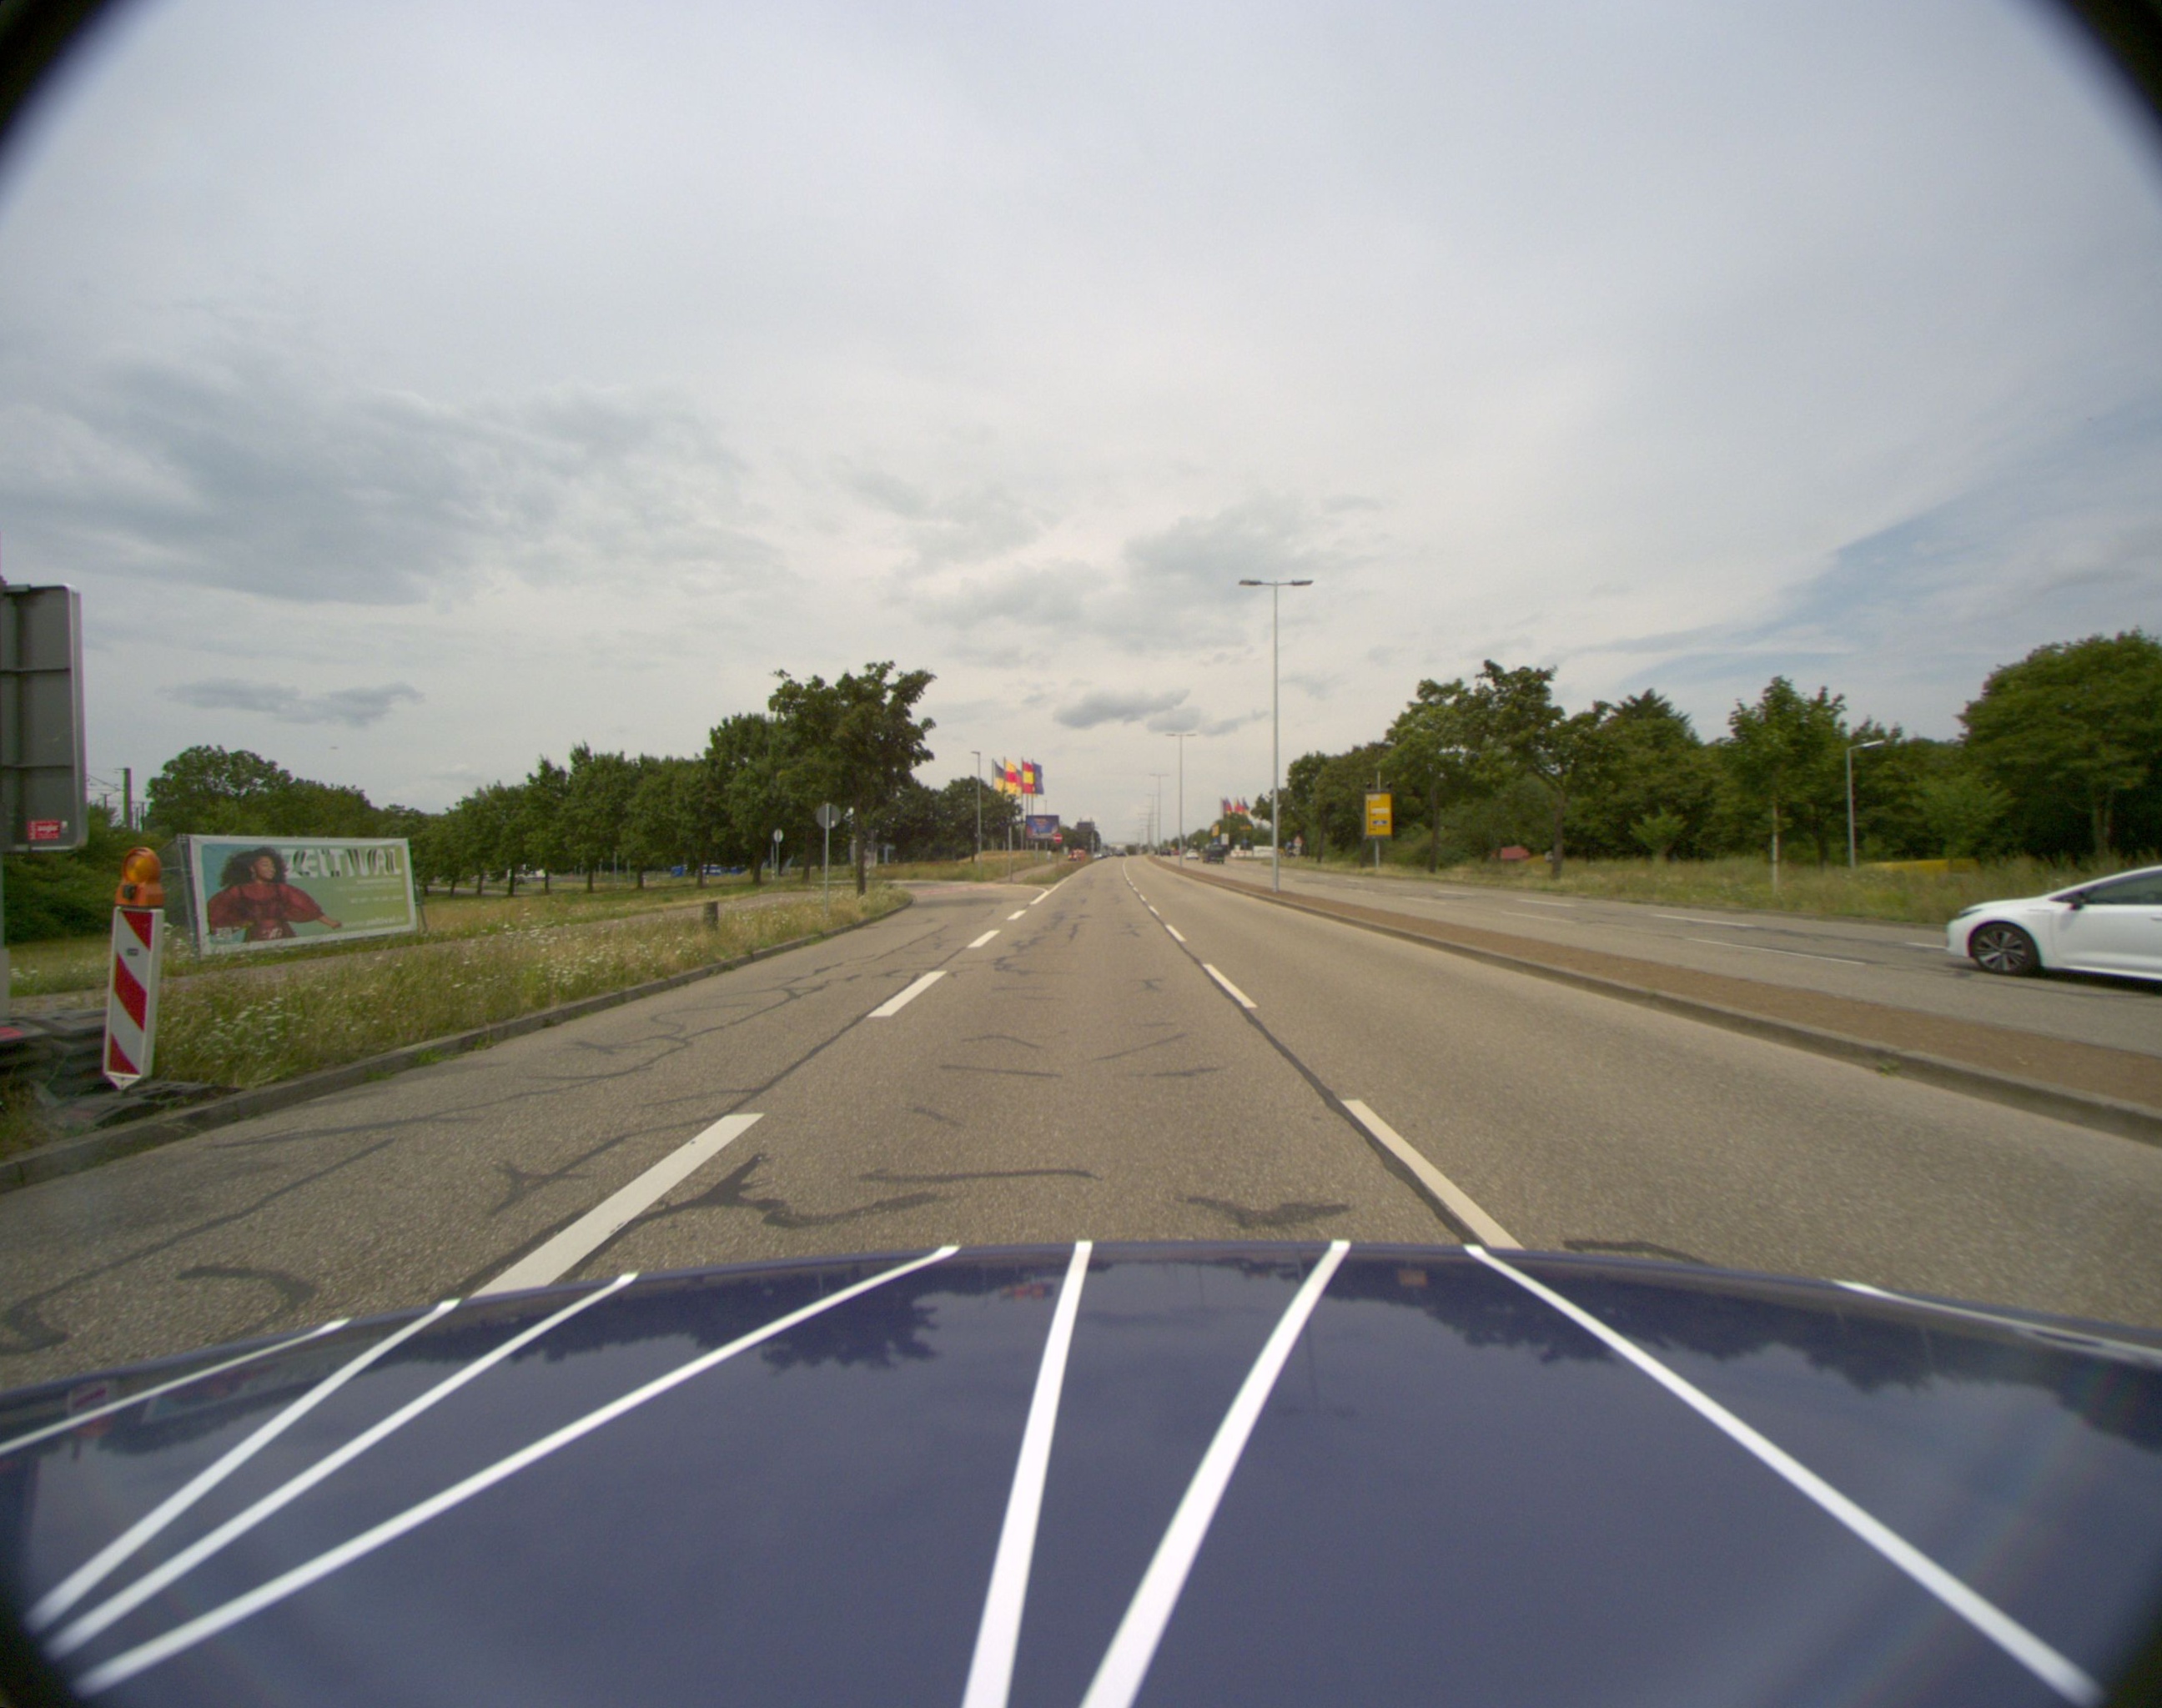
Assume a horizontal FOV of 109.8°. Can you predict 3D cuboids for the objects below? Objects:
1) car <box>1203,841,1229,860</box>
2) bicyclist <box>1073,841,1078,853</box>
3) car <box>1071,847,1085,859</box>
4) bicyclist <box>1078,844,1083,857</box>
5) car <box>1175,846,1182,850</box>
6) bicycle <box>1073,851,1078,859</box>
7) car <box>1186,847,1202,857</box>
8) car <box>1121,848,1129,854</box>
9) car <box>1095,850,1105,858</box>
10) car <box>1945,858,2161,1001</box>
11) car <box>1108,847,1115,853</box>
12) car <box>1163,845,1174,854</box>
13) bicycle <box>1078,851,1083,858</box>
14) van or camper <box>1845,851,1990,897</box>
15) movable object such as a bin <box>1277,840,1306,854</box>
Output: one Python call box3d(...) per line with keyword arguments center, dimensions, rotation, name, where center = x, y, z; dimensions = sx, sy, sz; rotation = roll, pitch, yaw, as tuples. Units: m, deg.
box3d(center=(15.808, -0.394, 89.261), dimensions=(2.100, 2.188, 6.004), rotation=(0, 0, 1), name="car")
box3d(center=(-0.762, -0.952, 107.645), dimensions=(0.705, 1.745, 0.991), rotation=(0, 0, 2), name="bicyclist")
box3d(center=(-0.438, -0.076, 122.633), dimensions=(1.892, 1.824, 4.432), rotation=(-2, -1, 3), name="car")
box3d(center=(-0.039, -0.473, 101.441), dimensions=(0.623, 1.656, 0.669), rotation=(2, 0, 2), name="bicyclist")
box3d(center=(28.848, -1.758, 225.355), dimensions=(1.758, 1.314, 4.348), rotation=(-1, -1, 5), name="car")
box3d(center=(-0.783, 0.157, 107.480), dimensions=(0.695, 1.185, 2.461), rotation=(0, 0, 2), name="bicycle")
box3d(center=(17.276, -0.309, 116.667), dimensions=(1.998, 1.422, 4.689), rotation=(0, 0, 3), name="car")
box3d(center=(9.204, -0.613, 158.612), dimensions=(1.558, 1.229, 3.470), rotation=(-2, -1, 3), name="car")
box3d(center=(3.331, 0.030, 132.772), dimensions=(1.695, 1.403, 3.684), rotation=(-2, -1, 1), name="car")
box3d(center=(11.787, 0.792, 7.534), dimensions=(1.721, 1.412, 4.159), rotation=(1, 1, 2), name="car")
box3d(center=(7.053, -1.005, 176.832), dimensions=(1.558, 1.229, 3.470), rotation=(-2, -1, 3), name="car")
box3d(center=(18.494, -1.020, 160.768), dimensions=(1.998, 1.800, 4.798), rotation=(0, -1, 2), name="car")
box3d(center=(-0.034, 0.048, 101.617), dimensions=(0.624, 0.883, 2.154), rotation=(-1, 1, 2), name="bicycle")
box3d(center=(40.348, 0.941, 36.765), dimensions=(4.361, 2.002, 2.001), rotation=(-2, 1, 11), name="van or camper")
box3d(center=(37.300, -1.188, 134.833), dimensions=(4.592, 2.383, 1.999), rotation=(-1, 0, -7), name="movable object such as a bin")
